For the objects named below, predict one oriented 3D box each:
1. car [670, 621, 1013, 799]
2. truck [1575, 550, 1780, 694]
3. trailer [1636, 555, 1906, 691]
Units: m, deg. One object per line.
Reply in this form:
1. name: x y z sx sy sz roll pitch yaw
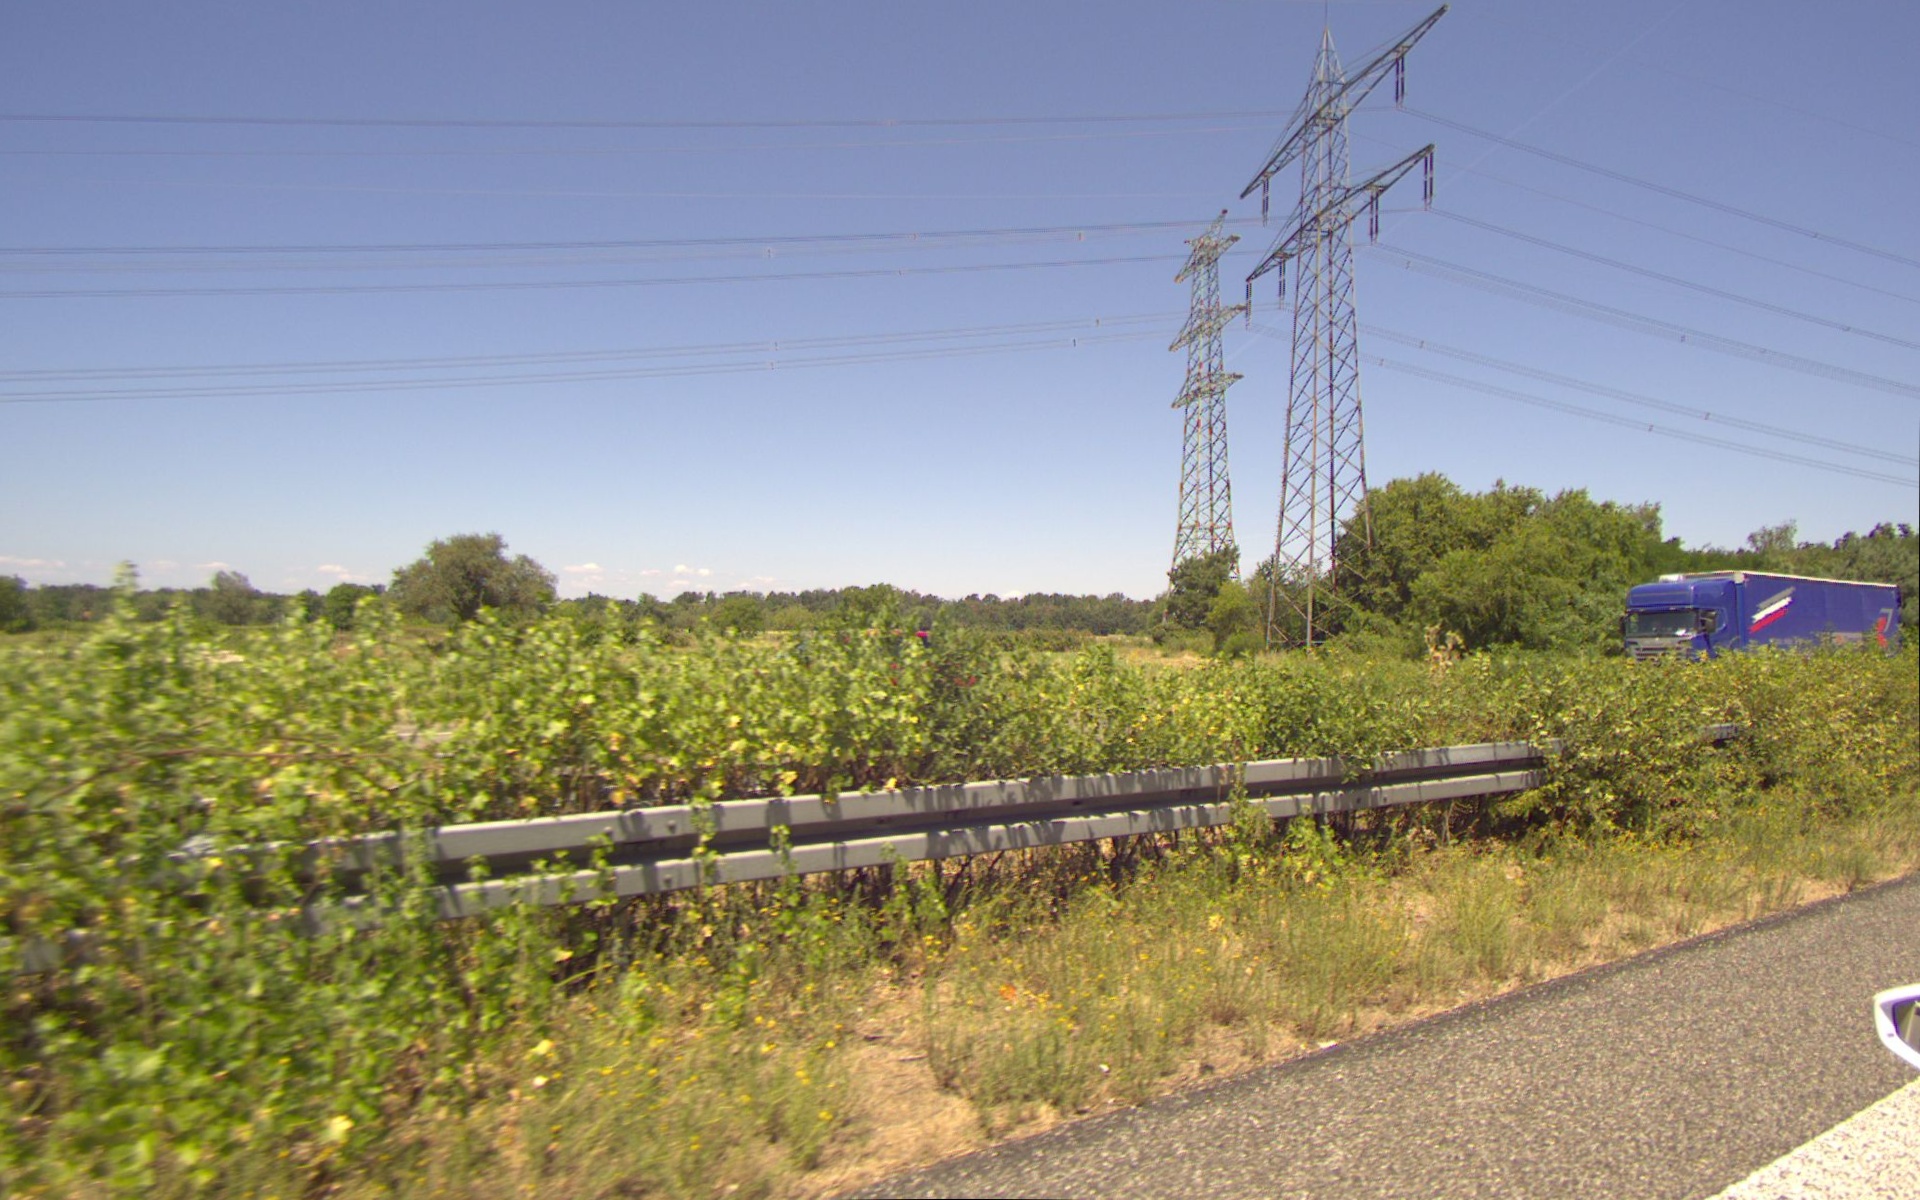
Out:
1. car: -1.604 1.392 13.885 4.244 2.040 1.984 2 0 -30
2. truck: 24.425 0.849 34.155 6.721 4.464 3.074 2 -4 -30
3. trailer: 30.972 1.021 37.988 14.065 4.464 3.074 2 -4 -31
